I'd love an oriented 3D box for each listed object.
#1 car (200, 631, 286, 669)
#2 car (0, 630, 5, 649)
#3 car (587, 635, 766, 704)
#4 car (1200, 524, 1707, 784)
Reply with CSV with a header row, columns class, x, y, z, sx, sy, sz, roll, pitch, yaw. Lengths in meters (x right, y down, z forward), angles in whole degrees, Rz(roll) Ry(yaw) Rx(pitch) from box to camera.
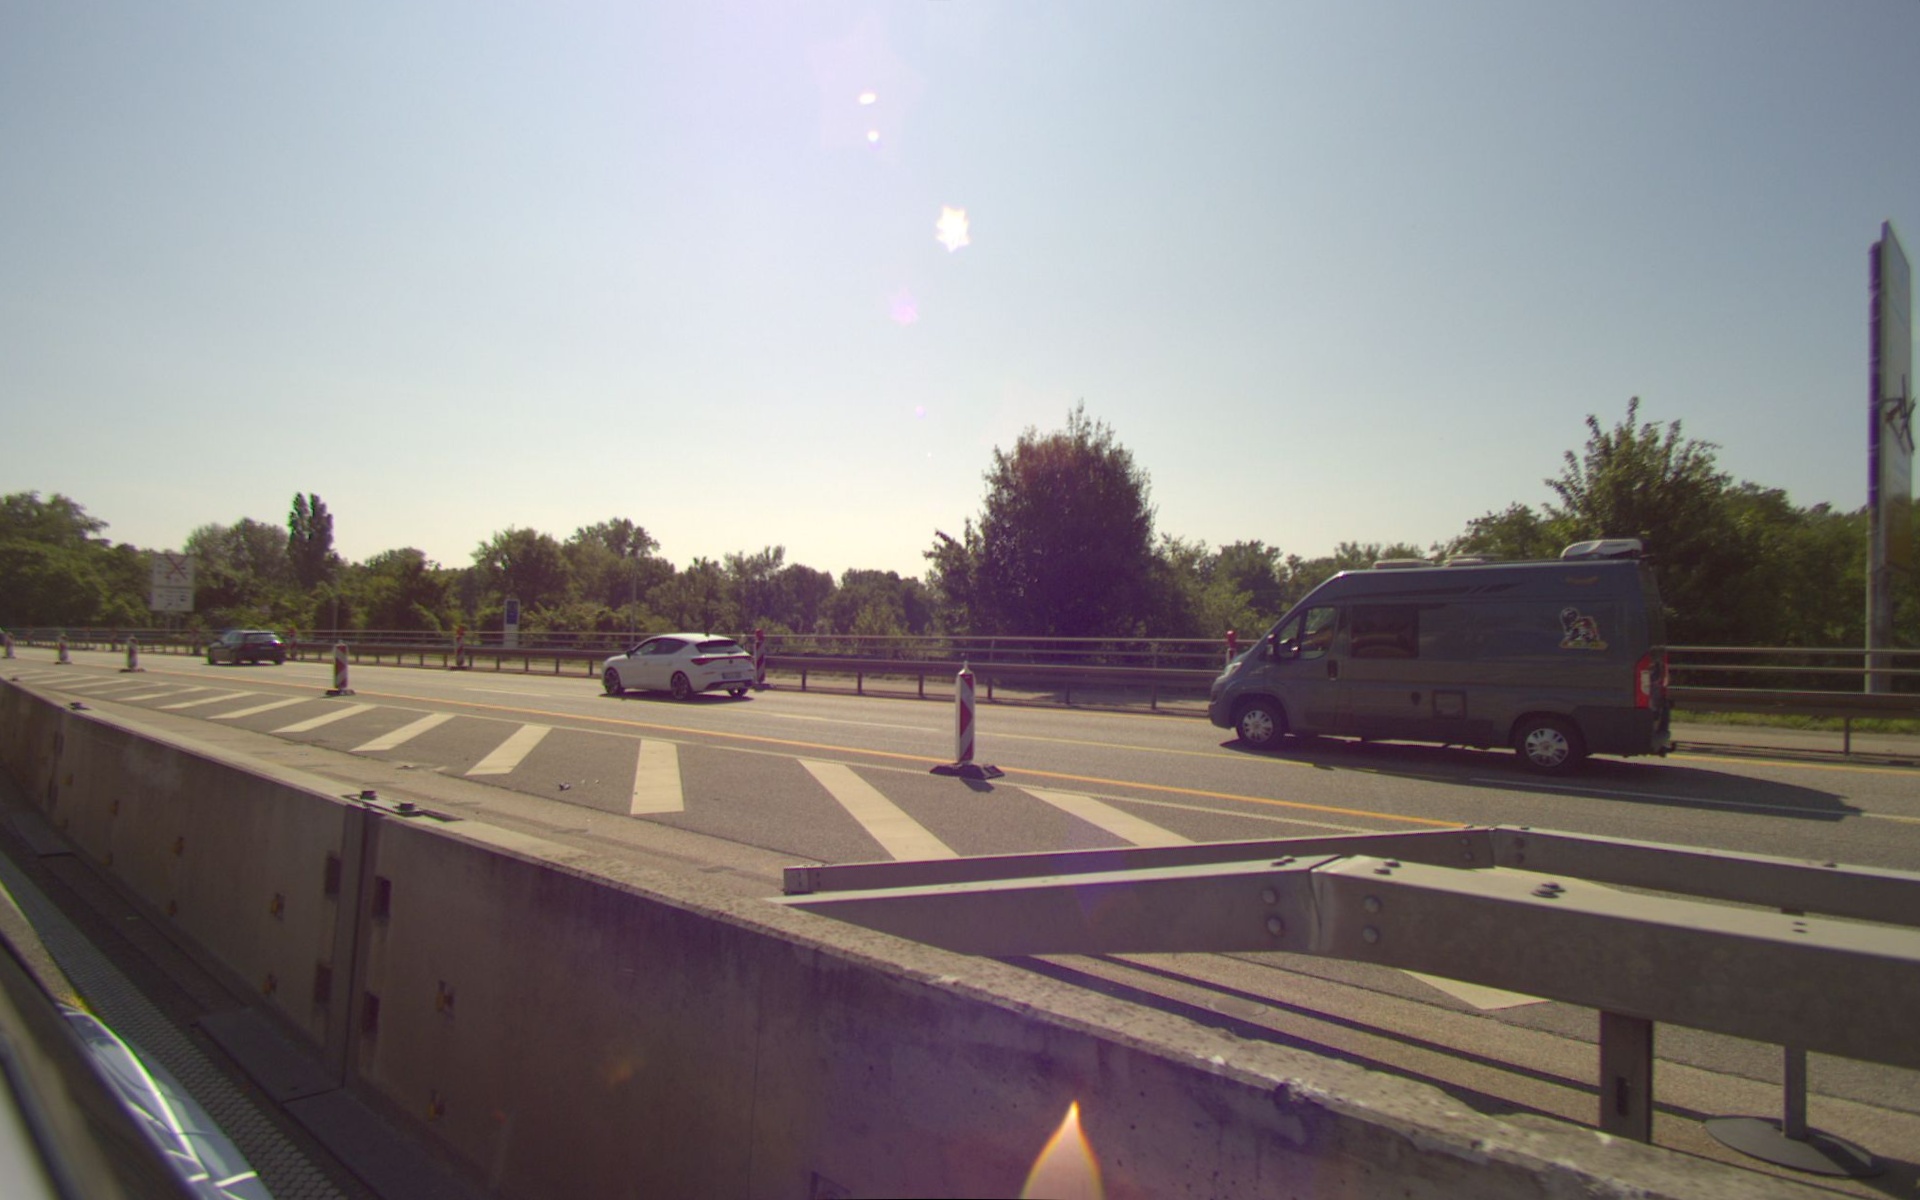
class,x,y,z,sx,sy,sz,roll,pitch,yaw
car,-29.884,2.057,42.146,4.640,1.487,1.720,-1,-3,39
car,-73.795,2.962,76.540,4.991,1.453,1.650,-1,-2,39
car,-6.610,1.540,23.374,4.514,1.408,1.702,-1,-2,39
car,6.120,0.621,13.037,5.540,2.681,2.125,-1,-2,39
